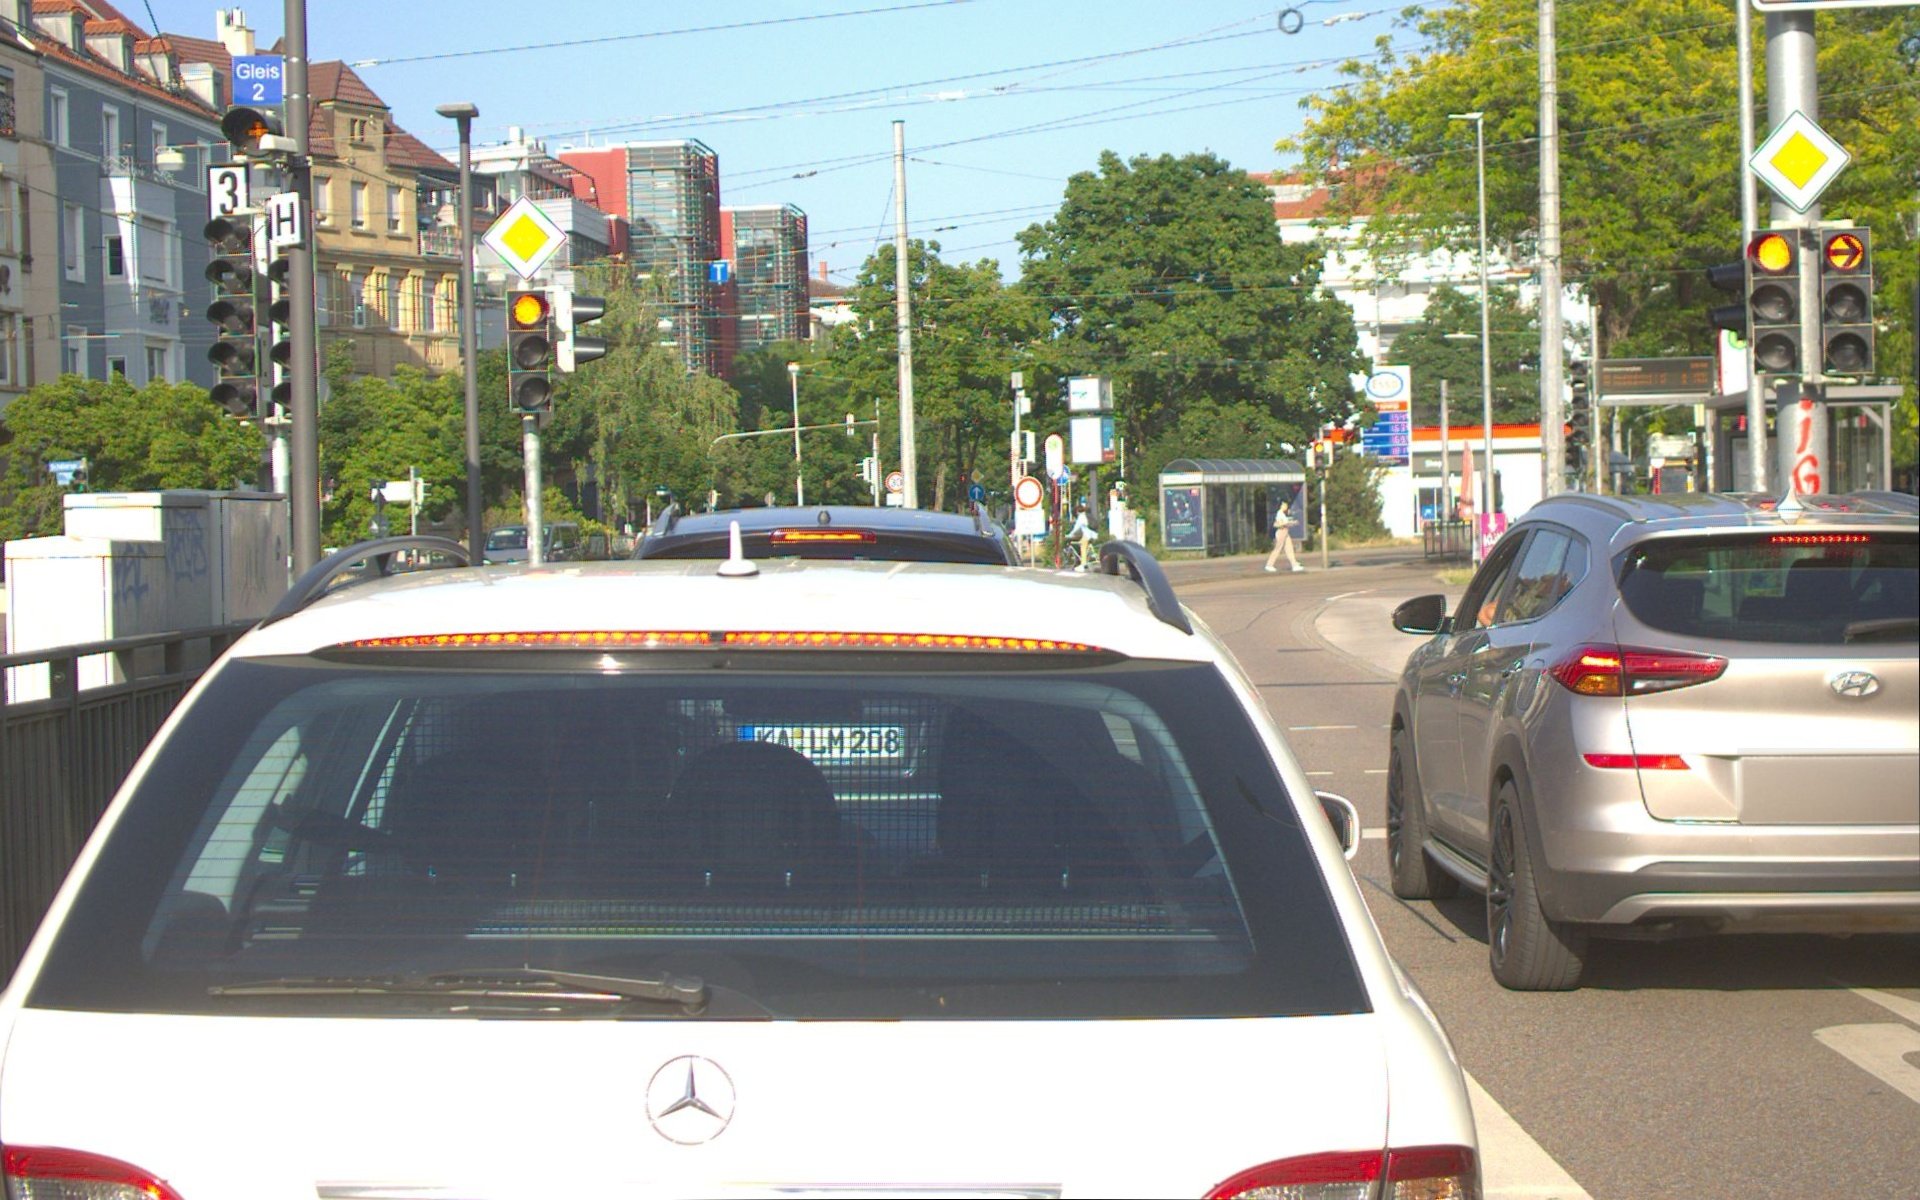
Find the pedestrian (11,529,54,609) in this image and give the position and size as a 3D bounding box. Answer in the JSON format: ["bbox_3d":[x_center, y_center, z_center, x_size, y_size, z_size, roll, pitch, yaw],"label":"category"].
[{"bbox_3d":[-19.529,-0.659,72.400,0.620,1.654,0.586,-3,1,-42],"label":"pedestrian"}]

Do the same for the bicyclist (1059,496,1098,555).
[{"bbox_3d":[3.029,-1.916,87.939,0.861,1.476,0.789,-1,1,9],"label":"bicyclist"}]

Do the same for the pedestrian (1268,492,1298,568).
[{"bbox_3d":[7.897,-1.709,84.062,0.642,1.850,0.551,-1,1,11],"label":"pedestrian"}]

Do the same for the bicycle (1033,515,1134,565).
[{"bbox_3d":[3.160,-1.542,87.932,2.483,1.209,0.806,-1,1,8],"label":"bicycle"}]

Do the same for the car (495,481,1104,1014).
[{"bbox_3d":[-0.518,0.423,12.576,1.885,1.645,3.648,1,1,0],"label":"car"}]

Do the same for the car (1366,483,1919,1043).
[{"bbox_3d":[2.631,0.441,12.148,1.885,1.645,3.648,-2,1,0],"label":"car"}]

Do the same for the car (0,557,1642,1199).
[{"bbox_3d":[-0.302,0.687,5.002,1.796,1.465,3.648,0,1,-1],"label":"car"}]
